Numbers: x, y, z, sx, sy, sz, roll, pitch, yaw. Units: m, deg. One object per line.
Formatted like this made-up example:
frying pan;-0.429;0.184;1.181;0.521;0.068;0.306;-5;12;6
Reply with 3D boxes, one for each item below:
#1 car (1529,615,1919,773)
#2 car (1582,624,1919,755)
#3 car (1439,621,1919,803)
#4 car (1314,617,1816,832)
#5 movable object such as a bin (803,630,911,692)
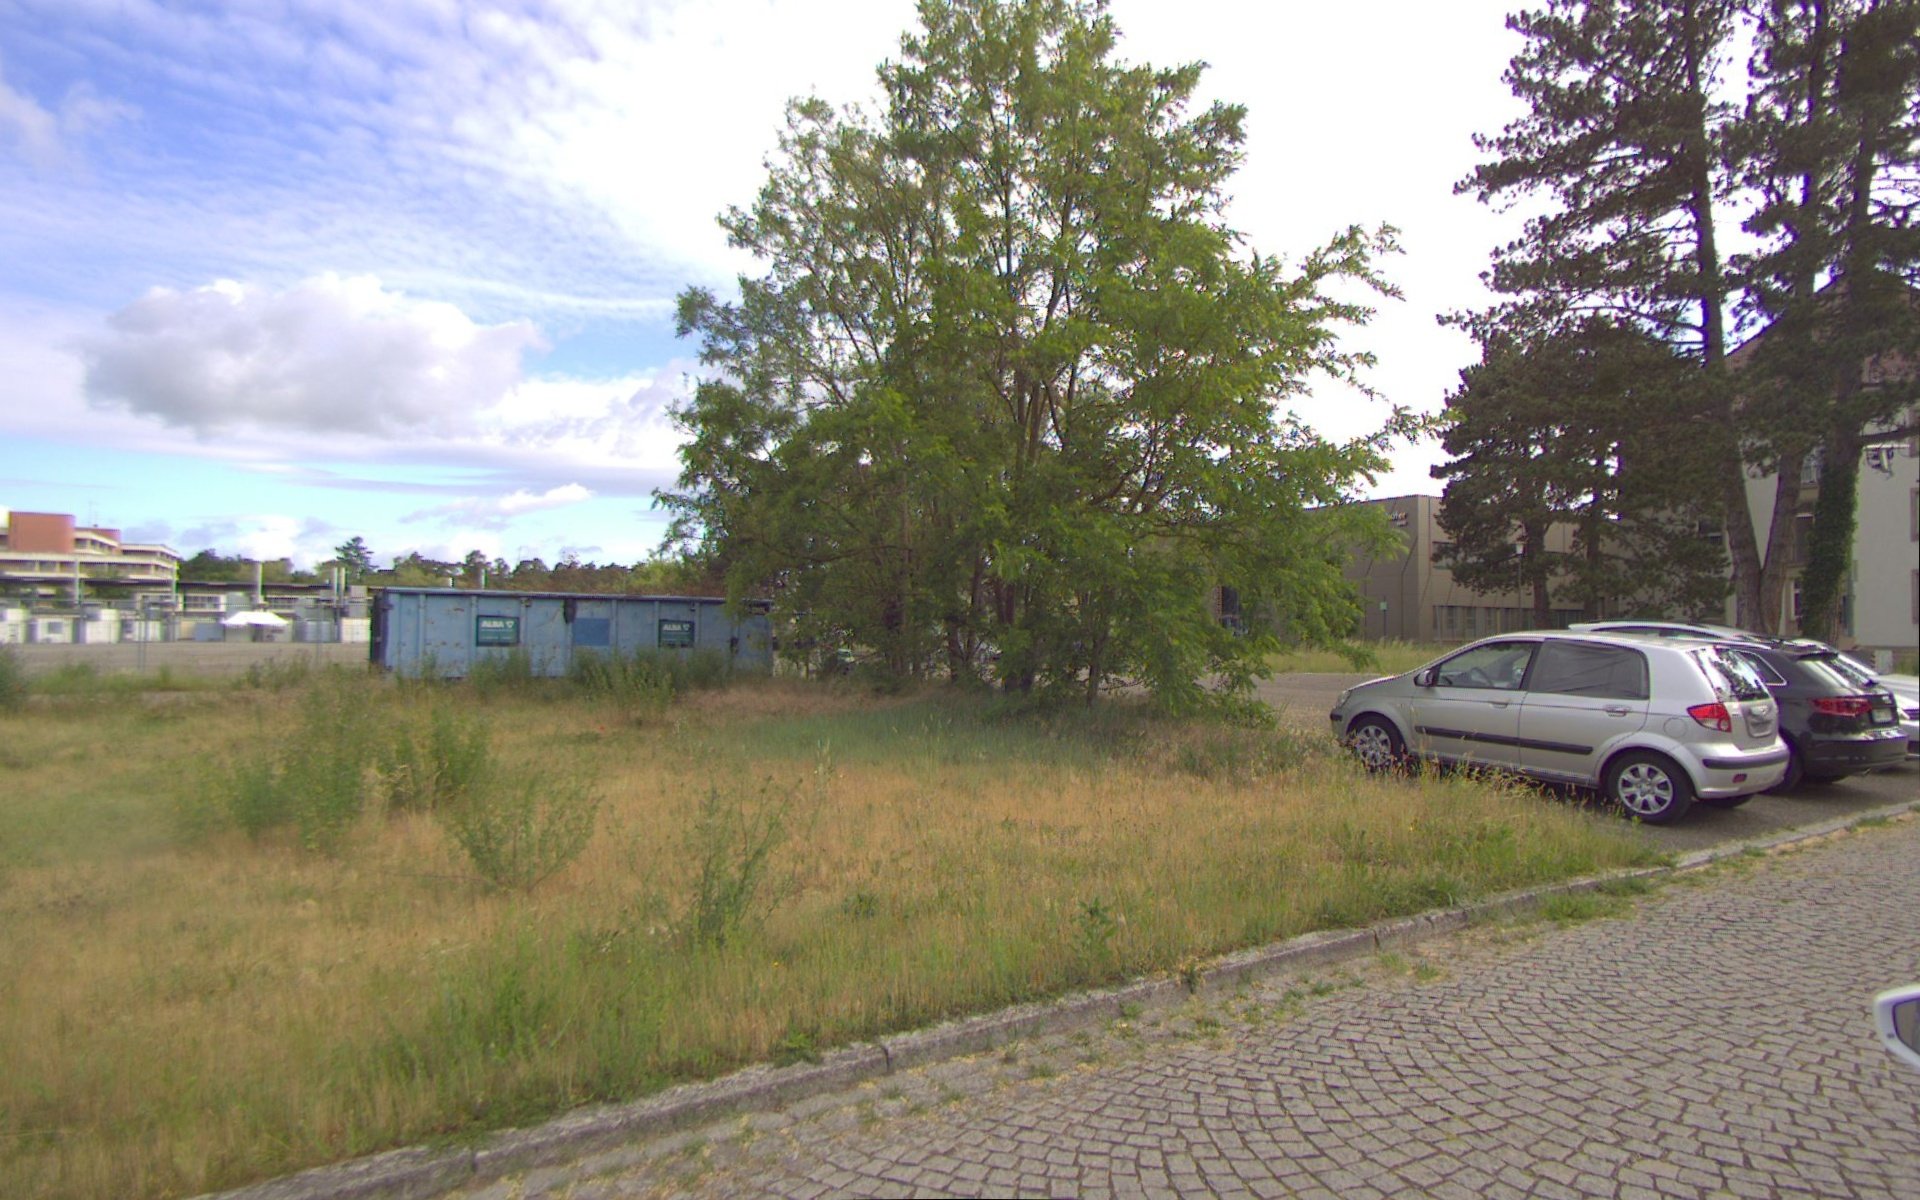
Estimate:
car;9.756;1.047;12.844;1.707;1.568;3.960;1;0;-35
car;11.697;1.170;14.182;1.783;1.463;4.618;1;0;-34
car;7.592;1.036;10.951;1.731;1.446;3.965;1;0;-32
car;5.481;0.973;9.507;1.790;1.472;3.653;1;1;-35
movable object such as a bin;-2.121;1.192;20.312;1.480;1.176;2.384;1;-2;-25
